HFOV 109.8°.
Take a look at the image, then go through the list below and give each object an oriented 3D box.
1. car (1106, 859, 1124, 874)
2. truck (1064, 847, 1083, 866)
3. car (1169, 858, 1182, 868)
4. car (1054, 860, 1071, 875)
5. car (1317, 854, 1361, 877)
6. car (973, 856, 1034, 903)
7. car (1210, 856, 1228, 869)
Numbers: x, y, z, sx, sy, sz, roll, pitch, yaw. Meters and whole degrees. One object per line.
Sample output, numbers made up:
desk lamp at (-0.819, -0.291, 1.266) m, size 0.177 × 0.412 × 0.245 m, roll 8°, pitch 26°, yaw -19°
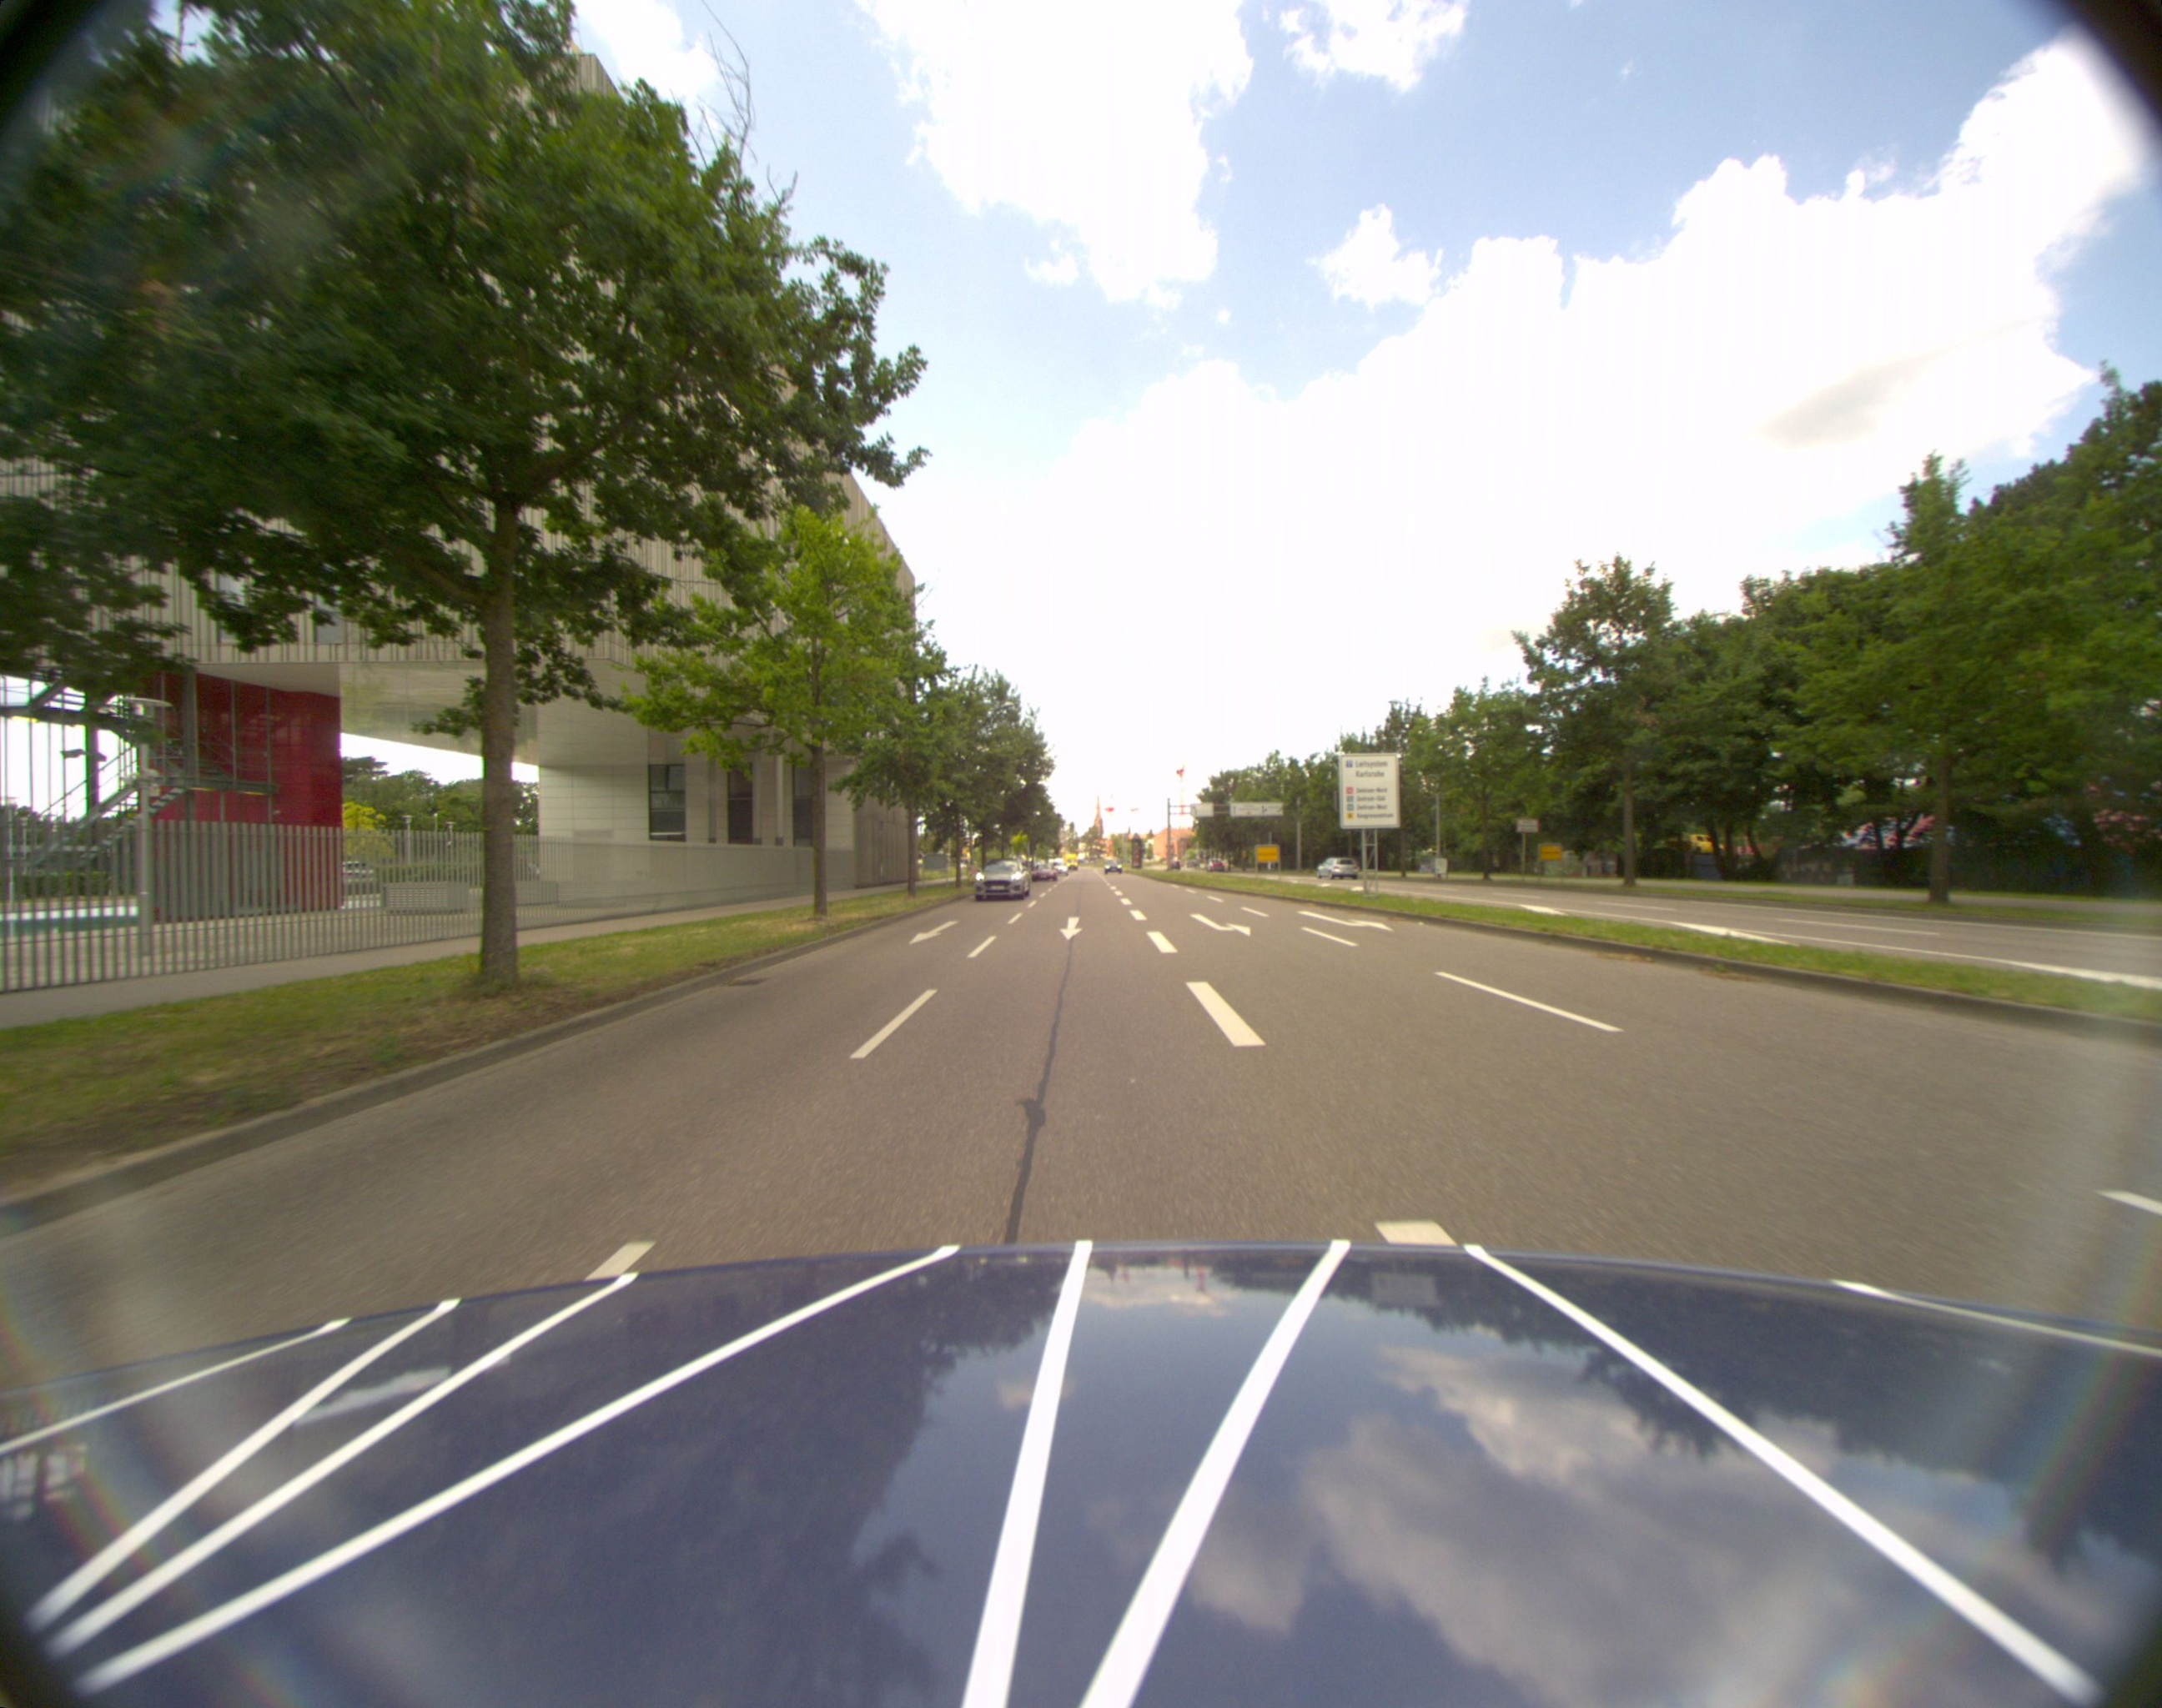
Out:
car at (3.660, 1.350, 82.578) m, size 1.782 × 1.487 × 3.598 m, roll 0°, pitch 0°, yaw 1°
truck at (-1.305, 0.418, 132.529) m, size 3.066 × 3.095 × 7.934 m, roll 0°, pitch 0°, yaw 1°
car at (15.278, 1.461, 122.708) m, size 1.713 × 1.487 × 4.072 m, roll 0°, pitch 0°, yaw 1°
car at (-1.933, 1.423, 81.486) m, size 1.713 × 1.487 × 3.650 m, roll 0°, pitch 0°, yaw 1°
car at (17.018, 0.736, 50.232) m, size 1.713 × 1.487 × 3.697 m, roll 0°, pitch 0°, yaw 1°
car at (-2.868, 0.924, 28.916) m, size 1.823 × 1.565 × 3.954 m, roll -3°, pitch 0°, yaw 1°
car at (17.810, 1.080, 98.183) m, size 1.713 × 1.487 × 4.072 m, roll 0°, pitch 0°, yaw 1°
